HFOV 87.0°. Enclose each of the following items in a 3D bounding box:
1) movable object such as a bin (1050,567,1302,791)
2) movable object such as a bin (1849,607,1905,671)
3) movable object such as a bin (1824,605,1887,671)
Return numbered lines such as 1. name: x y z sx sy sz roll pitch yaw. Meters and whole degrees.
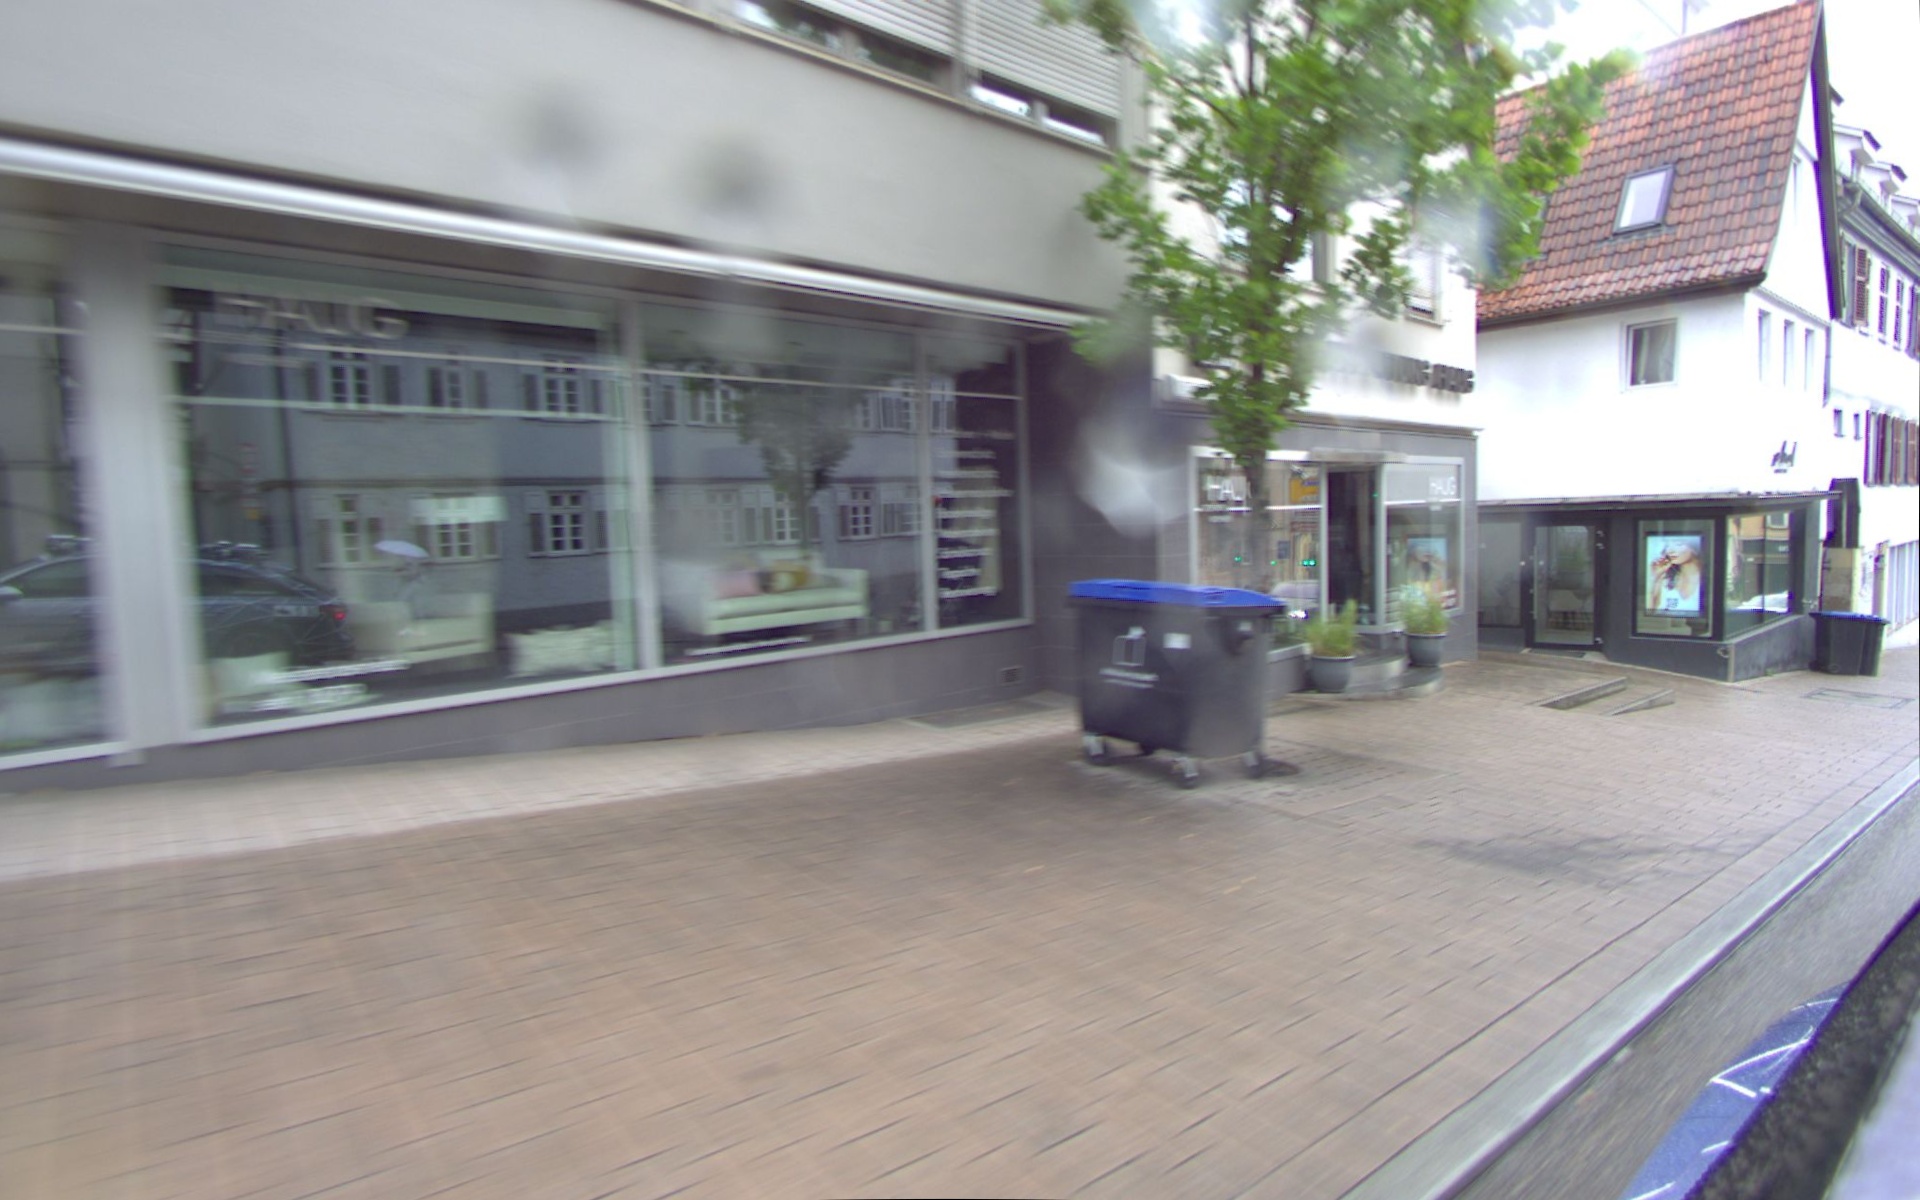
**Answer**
1. movable object such as a bin: 1.503 0.479 7.114 1.151 1.351 1.238 1 3 -39
2. movable object such as a bin: 15.931 0.665 17.588 0.468 1.040 0.597 0 4 -39
3. movable object such as a bin: 14.988 0.625 16.951 0.561 1.040 0.468 3 3 9
